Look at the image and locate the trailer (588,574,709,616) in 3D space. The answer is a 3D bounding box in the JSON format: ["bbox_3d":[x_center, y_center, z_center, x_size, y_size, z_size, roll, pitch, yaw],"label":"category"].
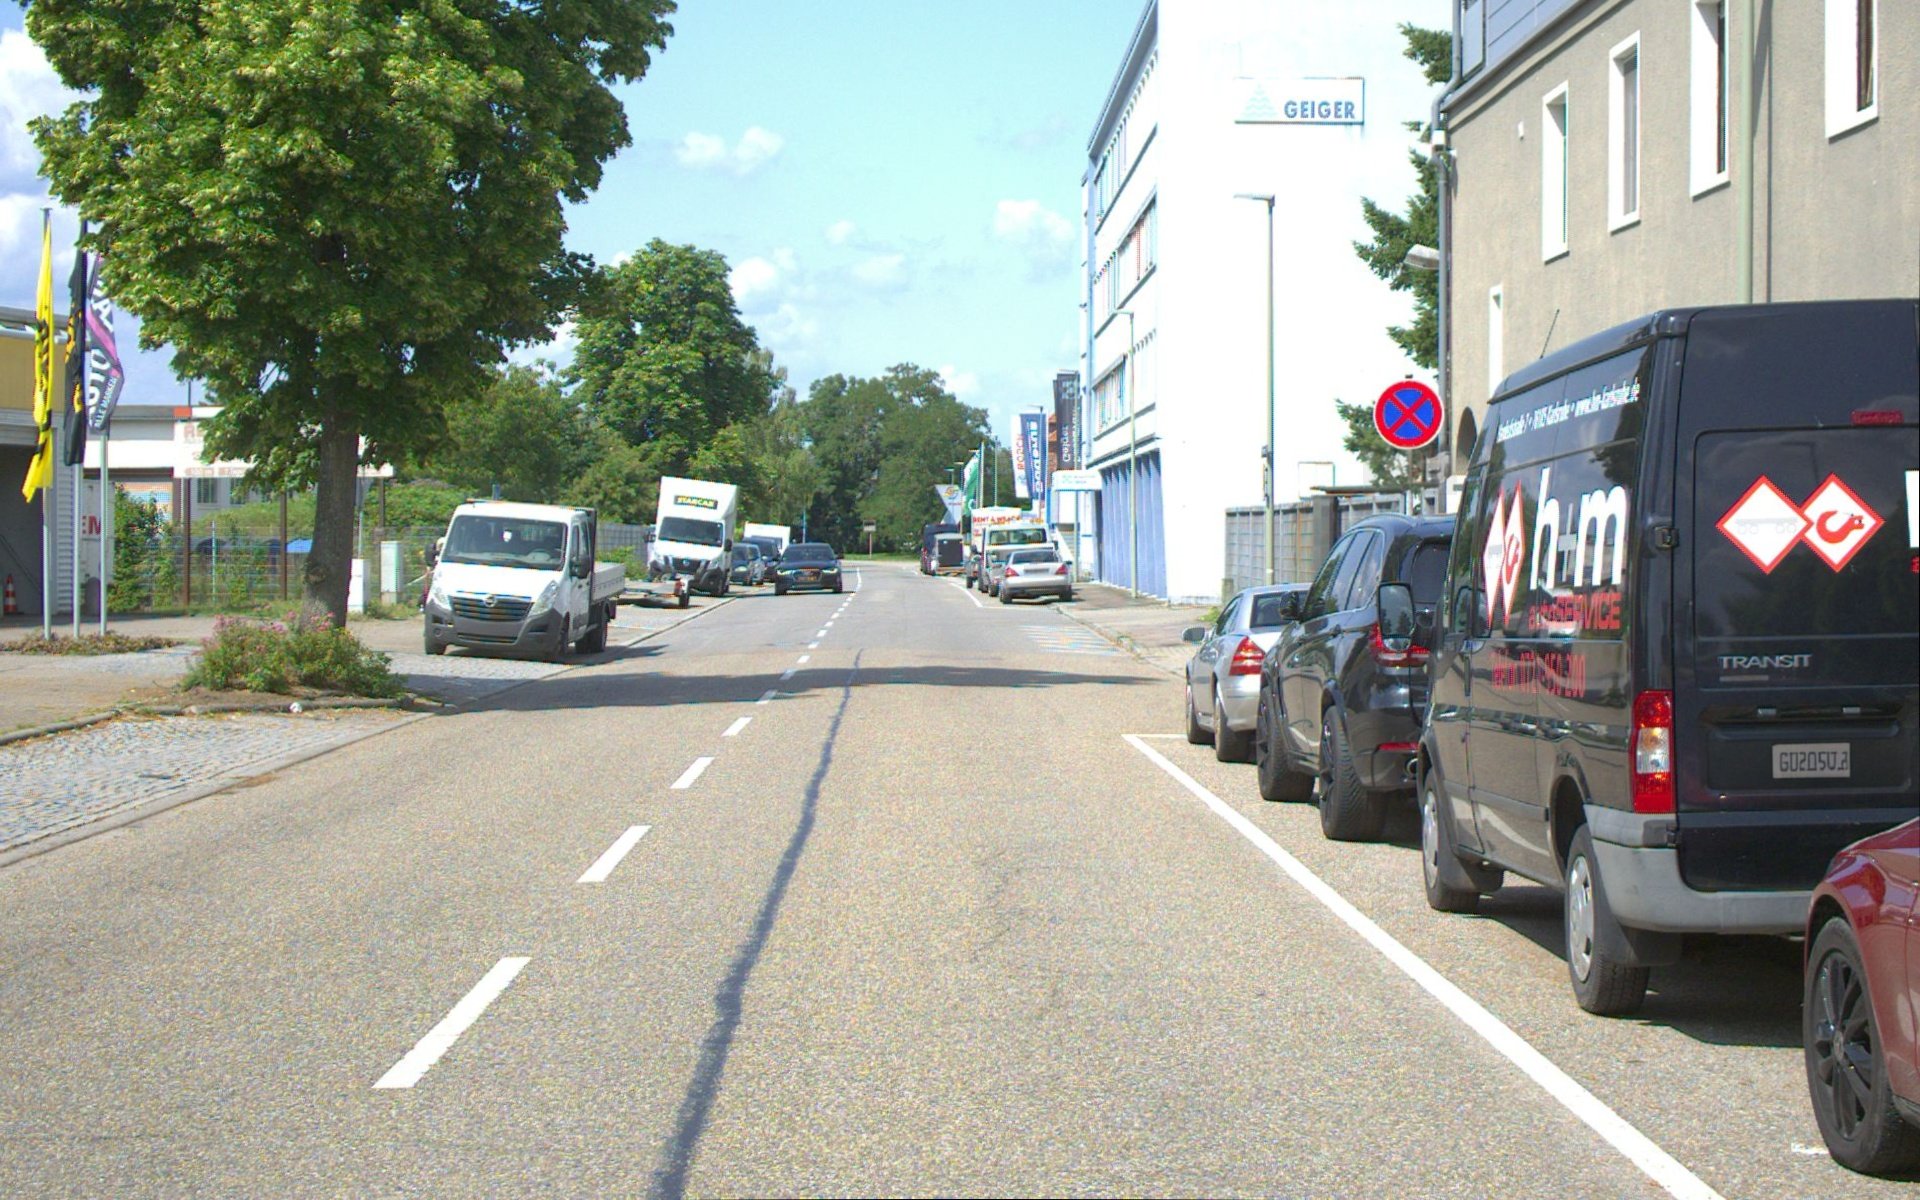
[{"bbox_3d":[-7.436,-0.144,82.685,2.417,0.811,5.537,2,1,0],"label":"trailer"}]

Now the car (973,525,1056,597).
[{"bbox_3d":[1.539,-1.148,98.817,2.216,2.007,5.485,0,1,-1],"label":"car"}]

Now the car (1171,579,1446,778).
[{"bbox_3d":[2.576,0.542,26.188,1.629,1.349,3.924,0,1,-1],"label":"car"}]

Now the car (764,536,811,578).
[{"bbox_3d":[-6.843,-1.729,136.513,1.713,1.645,4.000,0,1,-1],"label":"car"}]

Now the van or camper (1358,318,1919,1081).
[{"bbox_3d":[2.912,0.277,13.142,1.993,2.283,5.448,2,1,-1],"label":"van or camper"}]

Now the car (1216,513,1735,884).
[{"bbox_3d":[2.735,0.446,19.472,1.960,1.774,4.955,2,1,-2],"label":"car"}]

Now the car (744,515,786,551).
[{"bbox_3d":[-9.929,-3.421,175.153,1.993,1.809,4.000,0,1,-1],"label":"car"}]

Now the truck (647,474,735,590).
[{"bbox_3d":[-7.547,-1.919,96.882,2.029,3.143,6.500,0,1,-1],"label":"truck"}]

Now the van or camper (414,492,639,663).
[{"bbox_3d":[-6.515,-0.391,52.681,2.174,2.405,7.697,0,1,2],"label":"van or camper"}]

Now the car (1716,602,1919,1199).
[{"bbox_3d":[2.968,0.776,7.067,1.681,1.437,4.767,1,1,-1],"label":"car"}]

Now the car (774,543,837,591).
[{"bbox_3d":[-4.386,-0.951,97.877,1.654,1.320,4.417,0,1,-1],"label":"car"}]

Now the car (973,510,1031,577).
[{"bbox_3d":[1.320,-1.794,109.208,1.707,2.082,4.000,0,1,-1],"label":"car"}]

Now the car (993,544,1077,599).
[{"bbox_3d":[1.826,-0.721,84.870,1.928,1.306,4.000,0,1,-1],"label":"car"}]
